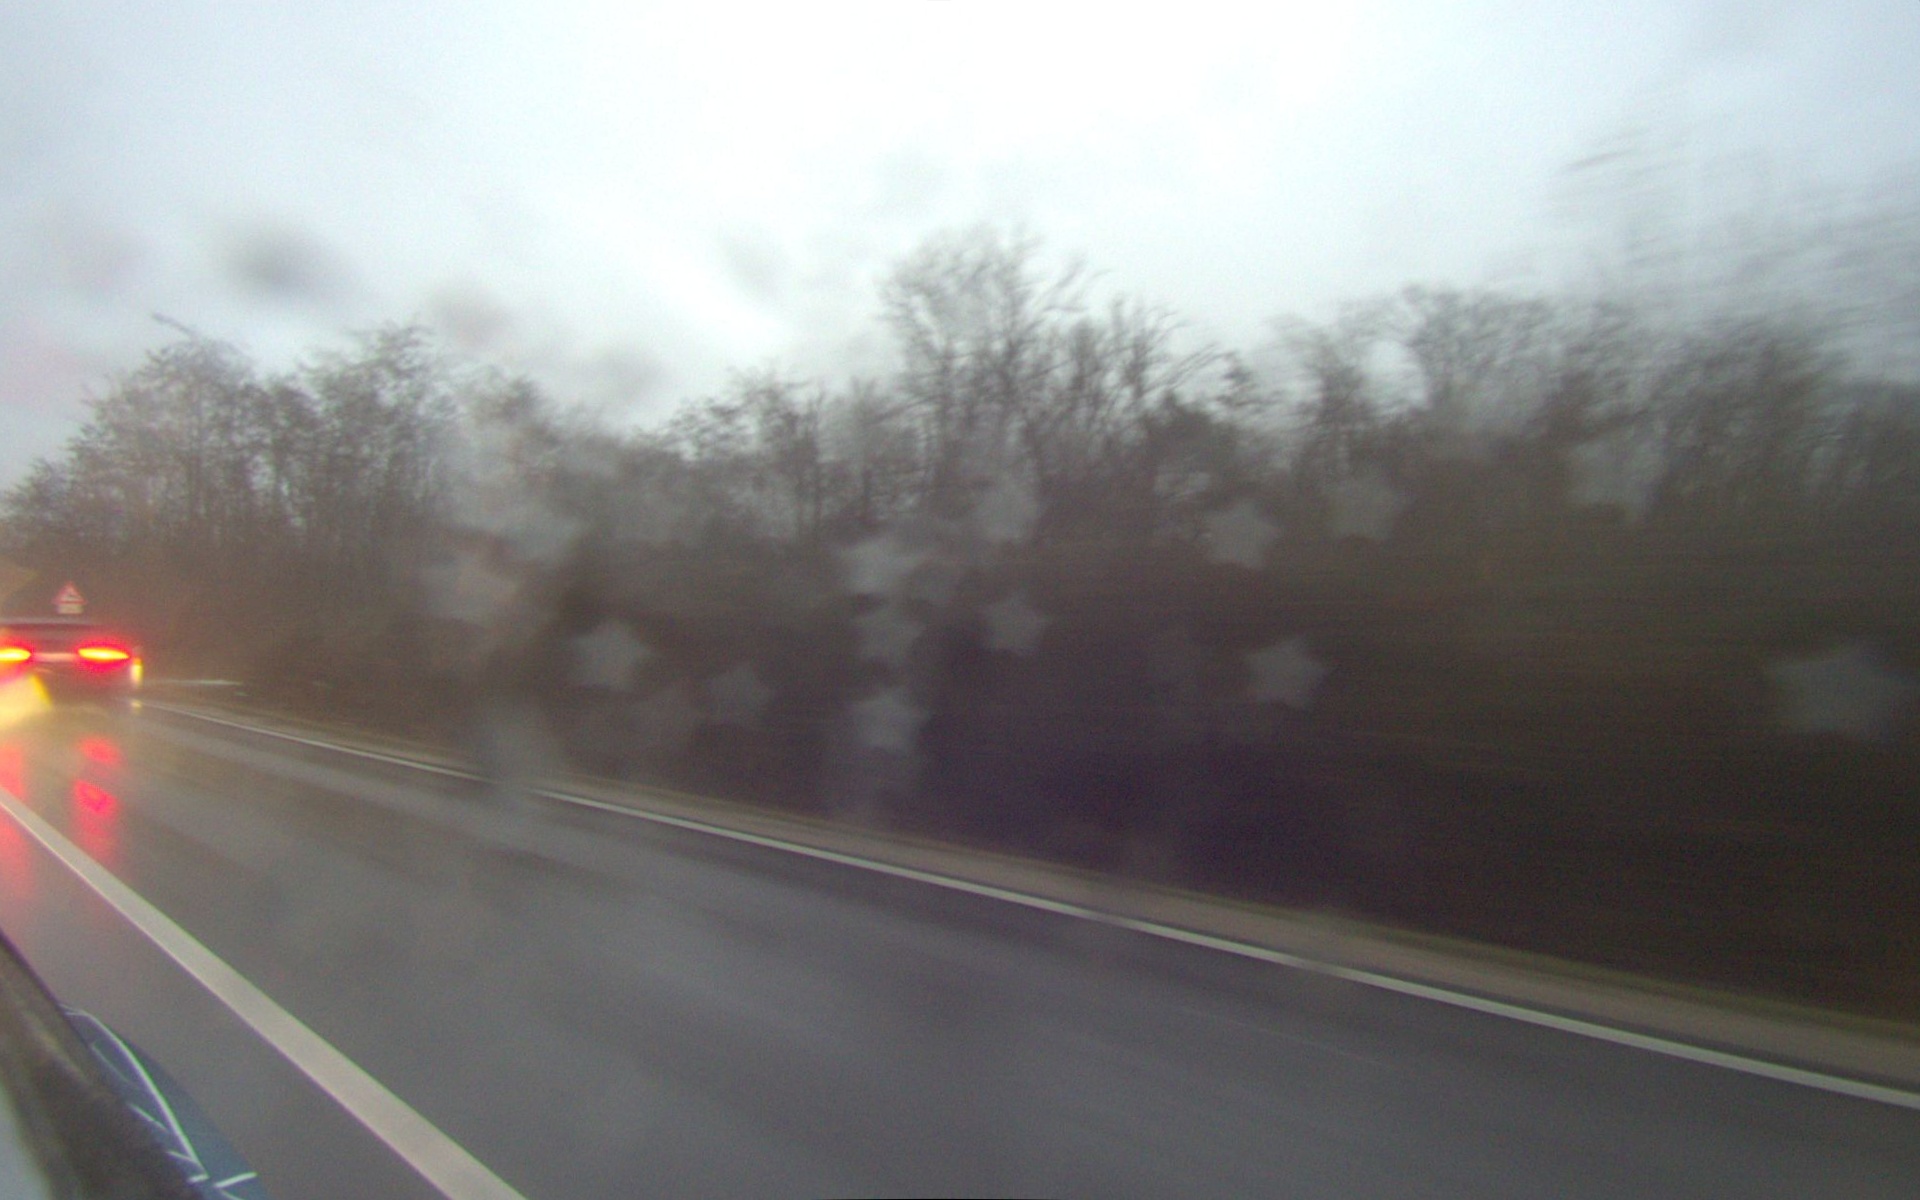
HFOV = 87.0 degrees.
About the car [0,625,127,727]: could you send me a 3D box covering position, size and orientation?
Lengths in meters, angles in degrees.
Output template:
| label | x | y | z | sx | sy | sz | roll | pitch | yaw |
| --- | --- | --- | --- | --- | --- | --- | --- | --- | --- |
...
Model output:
| label | x | y | z | sx | sy | sz | roll | pitch | yaw |
| --- | --- | --- | --- | --- | --- | --- | --- | --- | --- |
| car | -15.372 | 1.197 | 16.691 | 3.997 | 1.498 | 1.786 | -2 | -4 | 40 |
